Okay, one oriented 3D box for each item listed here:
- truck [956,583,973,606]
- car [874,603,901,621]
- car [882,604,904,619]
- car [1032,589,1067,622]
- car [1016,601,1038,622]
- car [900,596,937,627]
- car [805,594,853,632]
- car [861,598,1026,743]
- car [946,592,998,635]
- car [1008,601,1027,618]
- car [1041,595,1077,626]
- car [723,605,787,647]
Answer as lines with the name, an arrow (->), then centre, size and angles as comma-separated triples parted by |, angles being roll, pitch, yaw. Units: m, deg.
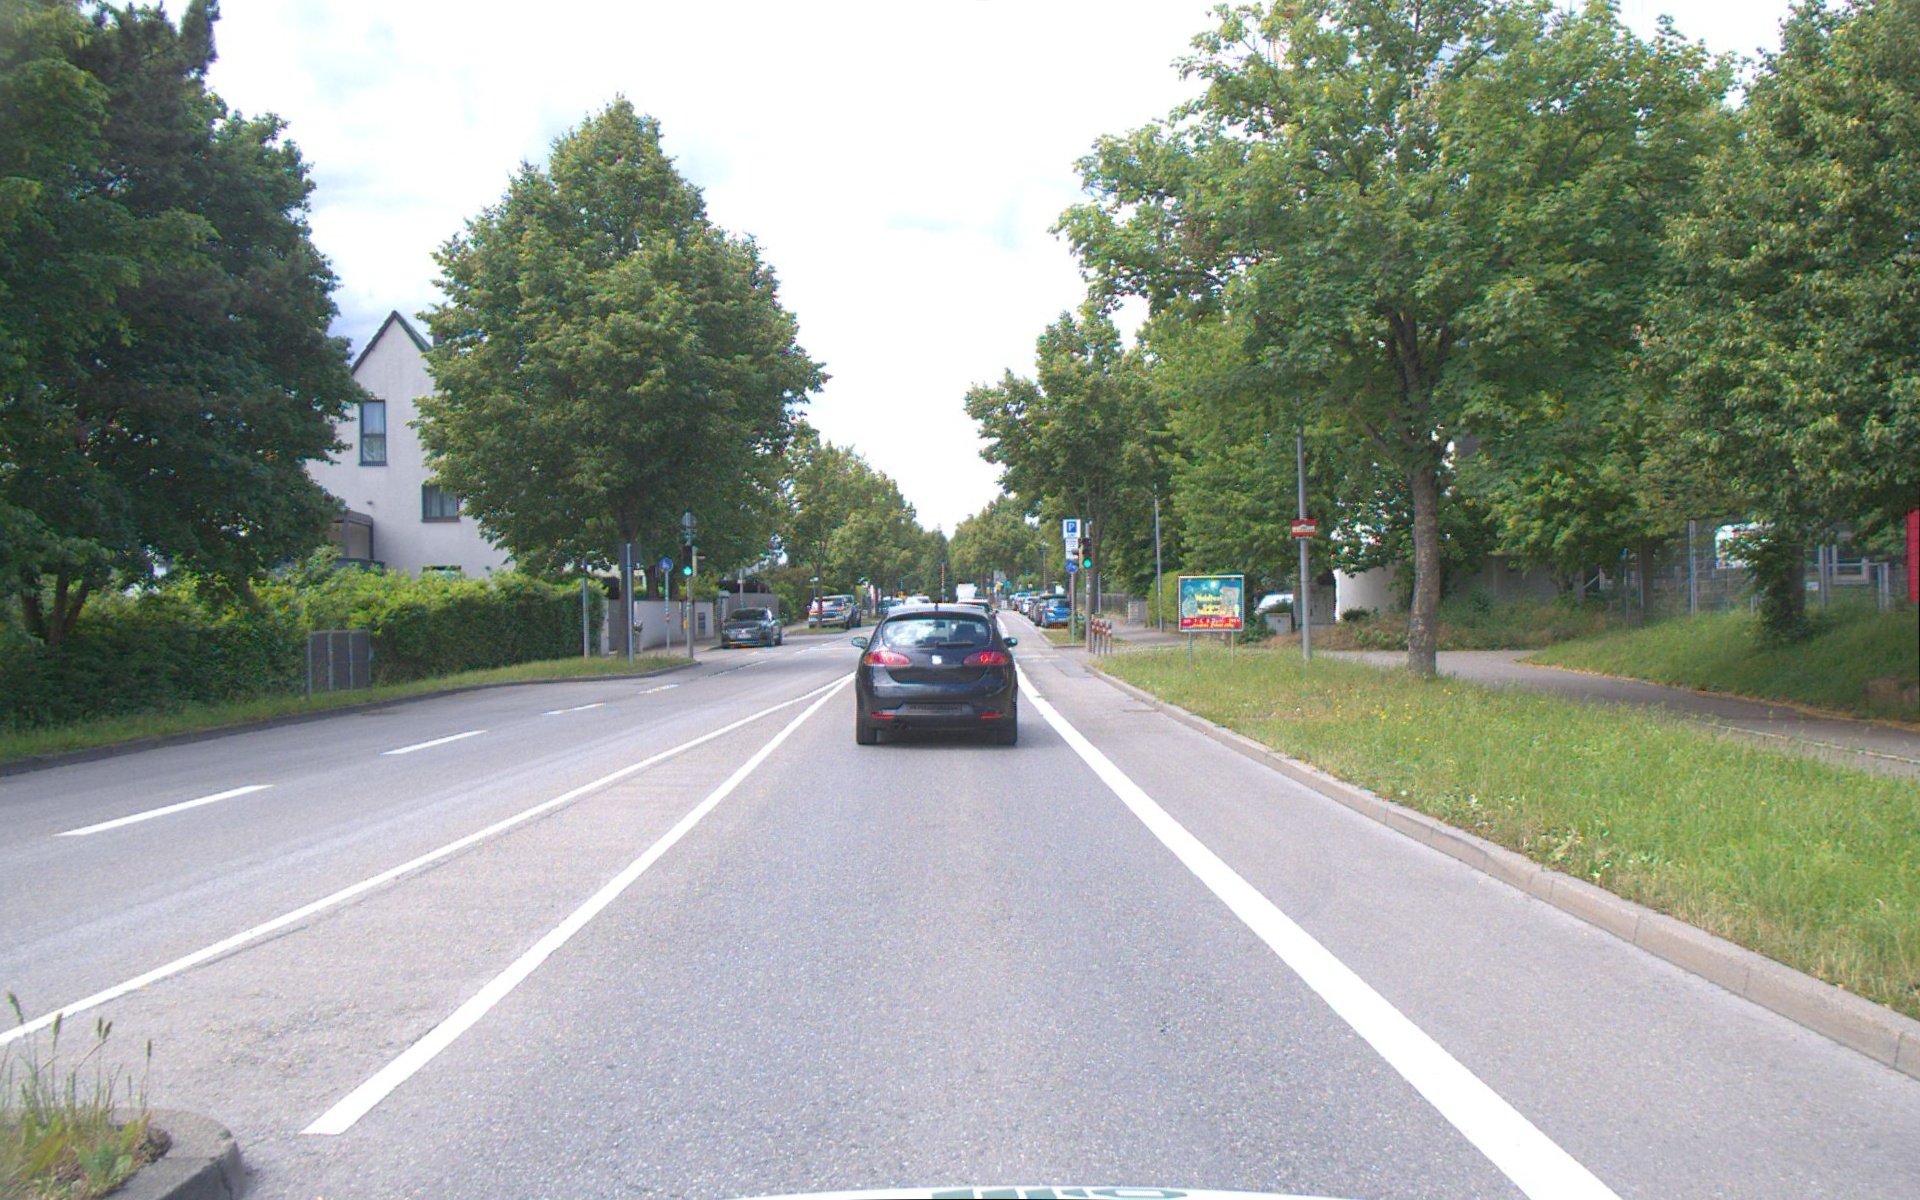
truck -> 0.601, -0.750, 232.393 | 2.232, 3.158, 8.509 | 1, -1, 0
car -> -6.452, 1.074, 147.715 | 2.057, 1.532, 5.784 | -2, 0, 0
car -> -7.317, 1.195, 180.540 | 2.057, 1.532, 5.784 | -2, 0, 0
car -> 4.839, 0.305, 89.968 | 1.653, 1.741, 4.213 | -1, 0, 0
car -> 5.381, 0.912, 133.340 | 1.653, 1.591, 4.213 | -1, 0, 0
car -> -2.450, 0.667, 97.810 | 1.836, 1.663, 4.341 | -2, 0, 2
car -> -7.103, 0.714, 90.468 | 2.057, 1.929, 5.784 | -2, 0, 0
car -> -0.188, 0.719, 18.435 | 1.629, 1.426, 3.811 | 1, 0, -1
car -> 0.490, 0.519, 62.298 | 1.808, 1.536, 3.812 | 1, 0, 2
car -> 5.436, 0.875, 157.707 | 1.653, 1.591, 4.213 | -1, 0, 0
car -> 5.054, 0.521, 84.945 | 1.653, 1.516, 3.355 | -1, 0, 0
car -> -7.540, 0.921, 61.236 | 1.683, 1.419, 4.801 | -2, 0, 0
